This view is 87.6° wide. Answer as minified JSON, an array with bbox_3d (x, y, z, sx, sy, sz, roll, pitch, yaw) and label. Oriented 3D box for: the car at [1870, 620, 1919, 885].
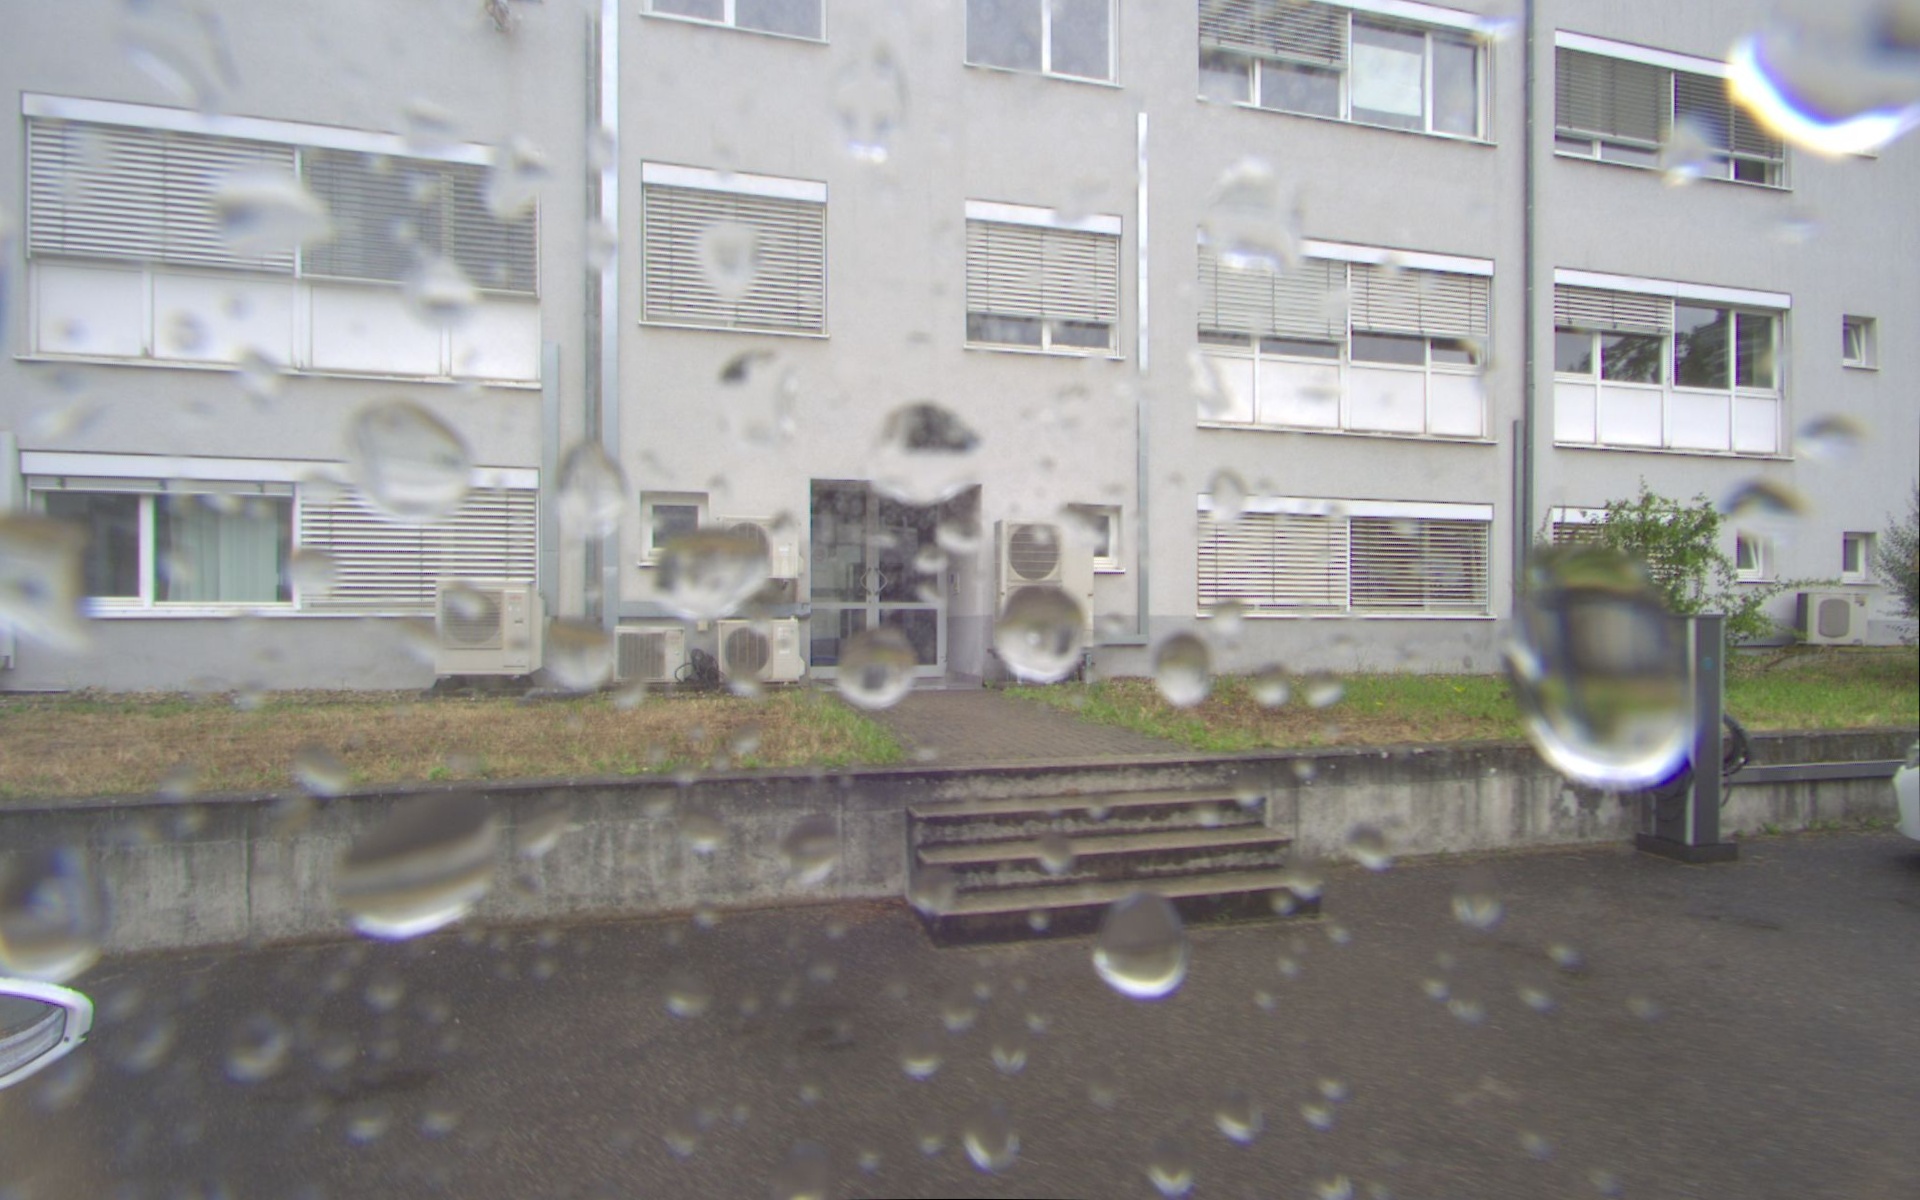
[{"bbox_3d":[6.829,0.842,4.122,1.963,1.508,4.218,1,-2,-12],"label":"car"}]
